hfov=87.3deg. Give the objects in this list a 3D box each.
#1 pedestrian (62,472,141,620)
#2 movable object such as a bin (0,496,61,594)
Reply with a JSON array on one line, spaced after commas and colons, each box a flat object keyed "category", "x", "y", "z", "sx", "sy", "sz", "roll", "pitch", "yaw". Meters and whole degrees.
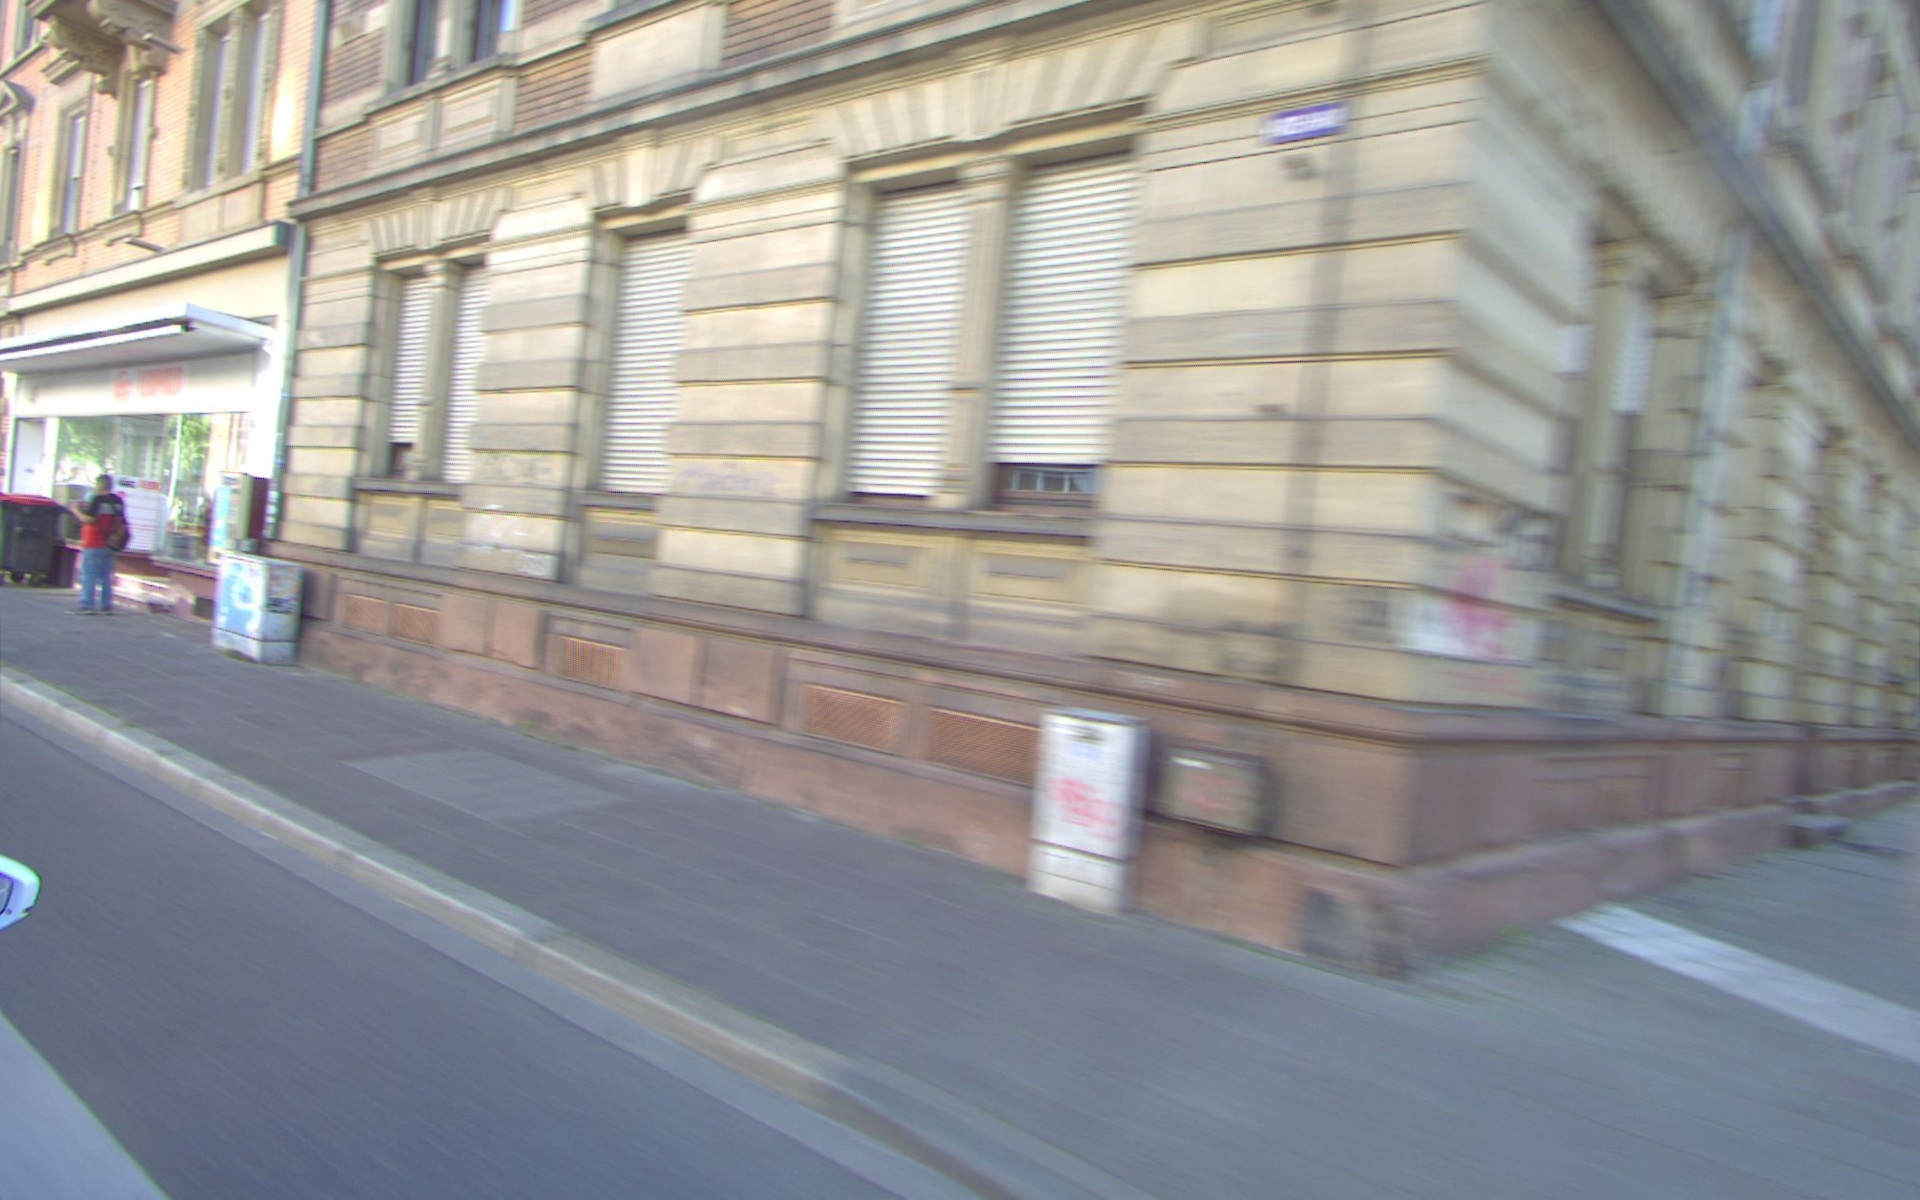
[{"category": "pedestrian", "x": -10.643, "y": -0.662, "z": 12.487, "sx": 0.464, "sy": 1.751, "sz": 0.585, "roll": 6, "pitch": 2, "yaw": -20}, {"category": "movable object such as a bin", "x": -14.283, "y": -0.853, "z": 15.117, "sx": 1.278, "sy": 1.364, "sz": 0.776, "roll": 6, "pitch": 1, "yaw": 33}]
